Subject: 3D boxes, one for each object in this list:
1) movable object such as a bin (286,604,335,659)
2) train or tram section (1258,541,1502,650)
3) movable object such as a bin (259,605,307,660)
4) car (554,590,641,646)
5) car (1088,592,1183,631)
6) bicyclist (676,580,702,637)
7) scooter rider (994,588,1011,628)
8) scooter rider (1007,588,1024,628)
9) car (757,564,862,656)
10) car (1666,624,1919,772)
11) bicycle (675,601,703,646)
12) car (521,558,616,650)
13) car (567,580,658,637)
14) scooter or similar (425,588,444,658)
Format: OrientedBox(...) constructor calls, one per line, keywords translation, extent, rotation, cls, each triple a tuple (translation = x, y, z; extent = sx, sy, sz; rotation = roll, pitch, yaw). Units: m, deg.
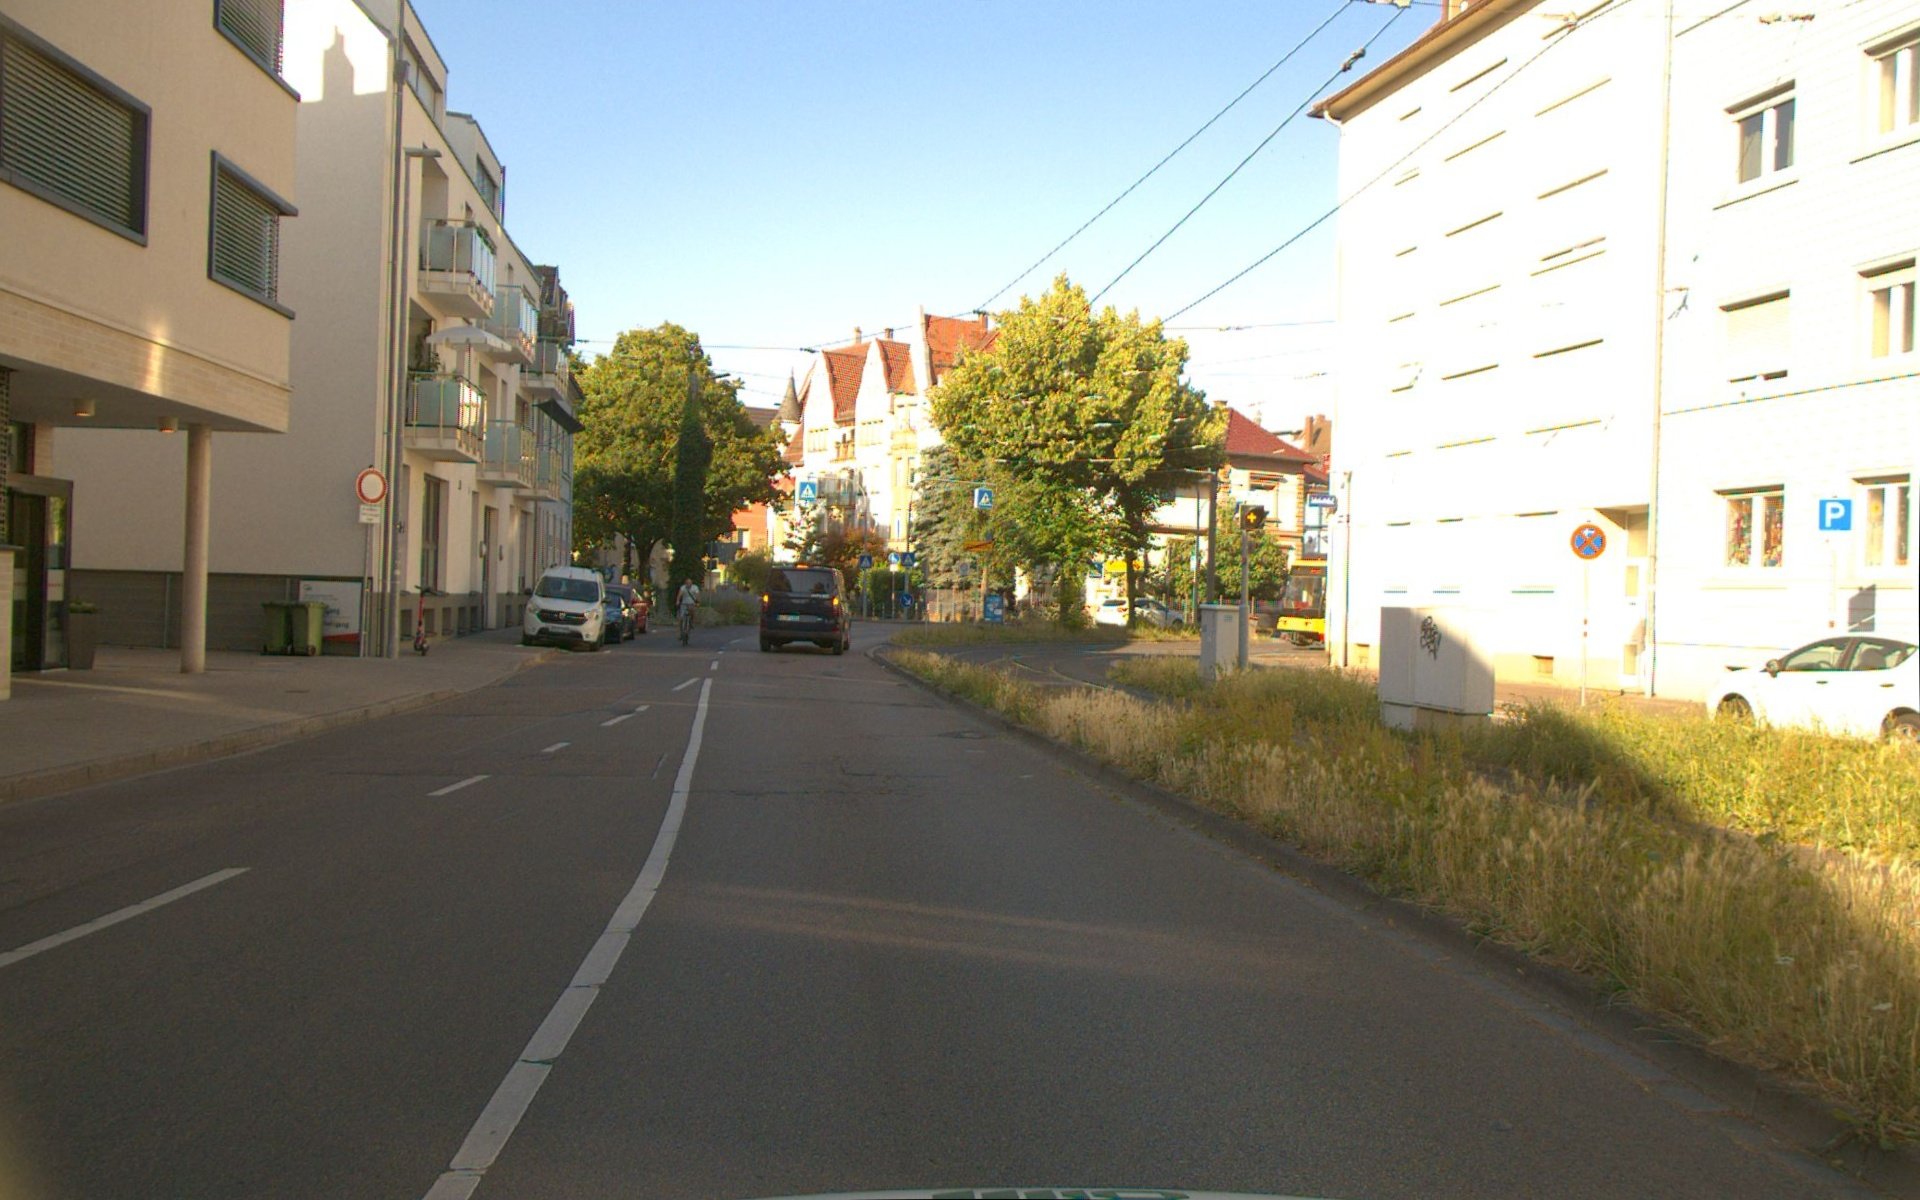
OrientedBox(translation=(-11.191, 0.543, 28.507), extent=(0.536, 0.917, 0.530), rotation=(2, -1, 15), cls="movable object such as a bin")
OrientedBox(translation=(15.117, -0.095, 59.046), extent=(9.806, 3.617, 2.750), rotation=(1, 0, -36), cls="train or tram section")
OrientedBox(translation=(-11.727, 0.562, 28.660), extent=(0.536, 0.917, 0.530), rotation=(2, -1, 15), cls="movable object such as a bin")
OrientedBox(translation=(-9.424, 0.466, 43.234), extent=(1.632, 1.295, 4.022), rotation=(3, -1, -5), cls="car")
OrientedBox(translation=(7.175, 0.431, 67.496), extent=(3.652, 1.531, 1.936), rotation=(0, 0, -41), cls="car")
OrientedBox(translation=(-6.771, 0.211, 41.368), extent=(0.610, 1.404, 0.800), rotation=(0, 0, -7), cls="bicyclist")
OrientedBox(translation=(1.828, 0.329, 70.995), extent=(0.594, 1.702, 0.654), rotation=(1, 0, -8), cls="scooter rider")
OrientedBox(translation=(2.388, 0.343, 71.025), extent=(0.594, 1.702, 0.654), rotation=(1, 0, -8), cls="scooter rider")
OrientedBox(translation=(-3.558, 0.213, 39.802), extent=(1.952, 2.049, 4.001), rotation=(2, 1, 2), cls="car")
OrientedBox(translation=(10.435, 1.057, 18.896), extent=(1.962, 1.410, 4.425), rotation=(0, 1, -17), cls="car")
OrientedBox(translation=(-6.773, 0.579, 41.331), extent=(0.610, 1.100, 1.781), rotation=(0, 0, -7), cls="bicycle")
OrientedBox(translation=(-8.998, 0.084, 38.288), extent=(1.778, 1.902, 4.322), rotation=(3, -1, -10), cls="car")
OrientedBox(translation=(-10.269, 0.217, 49.236), extent=(1.674, 1.491, 4.592), rotation=(3, 1, 0), cls="car")
OrientedBox(translation=(-9.754, 0.419, 30.667), extent=(0.221, 1.241, 1.147), rotation=(2, 1, -21), cls="scooter or similar")
